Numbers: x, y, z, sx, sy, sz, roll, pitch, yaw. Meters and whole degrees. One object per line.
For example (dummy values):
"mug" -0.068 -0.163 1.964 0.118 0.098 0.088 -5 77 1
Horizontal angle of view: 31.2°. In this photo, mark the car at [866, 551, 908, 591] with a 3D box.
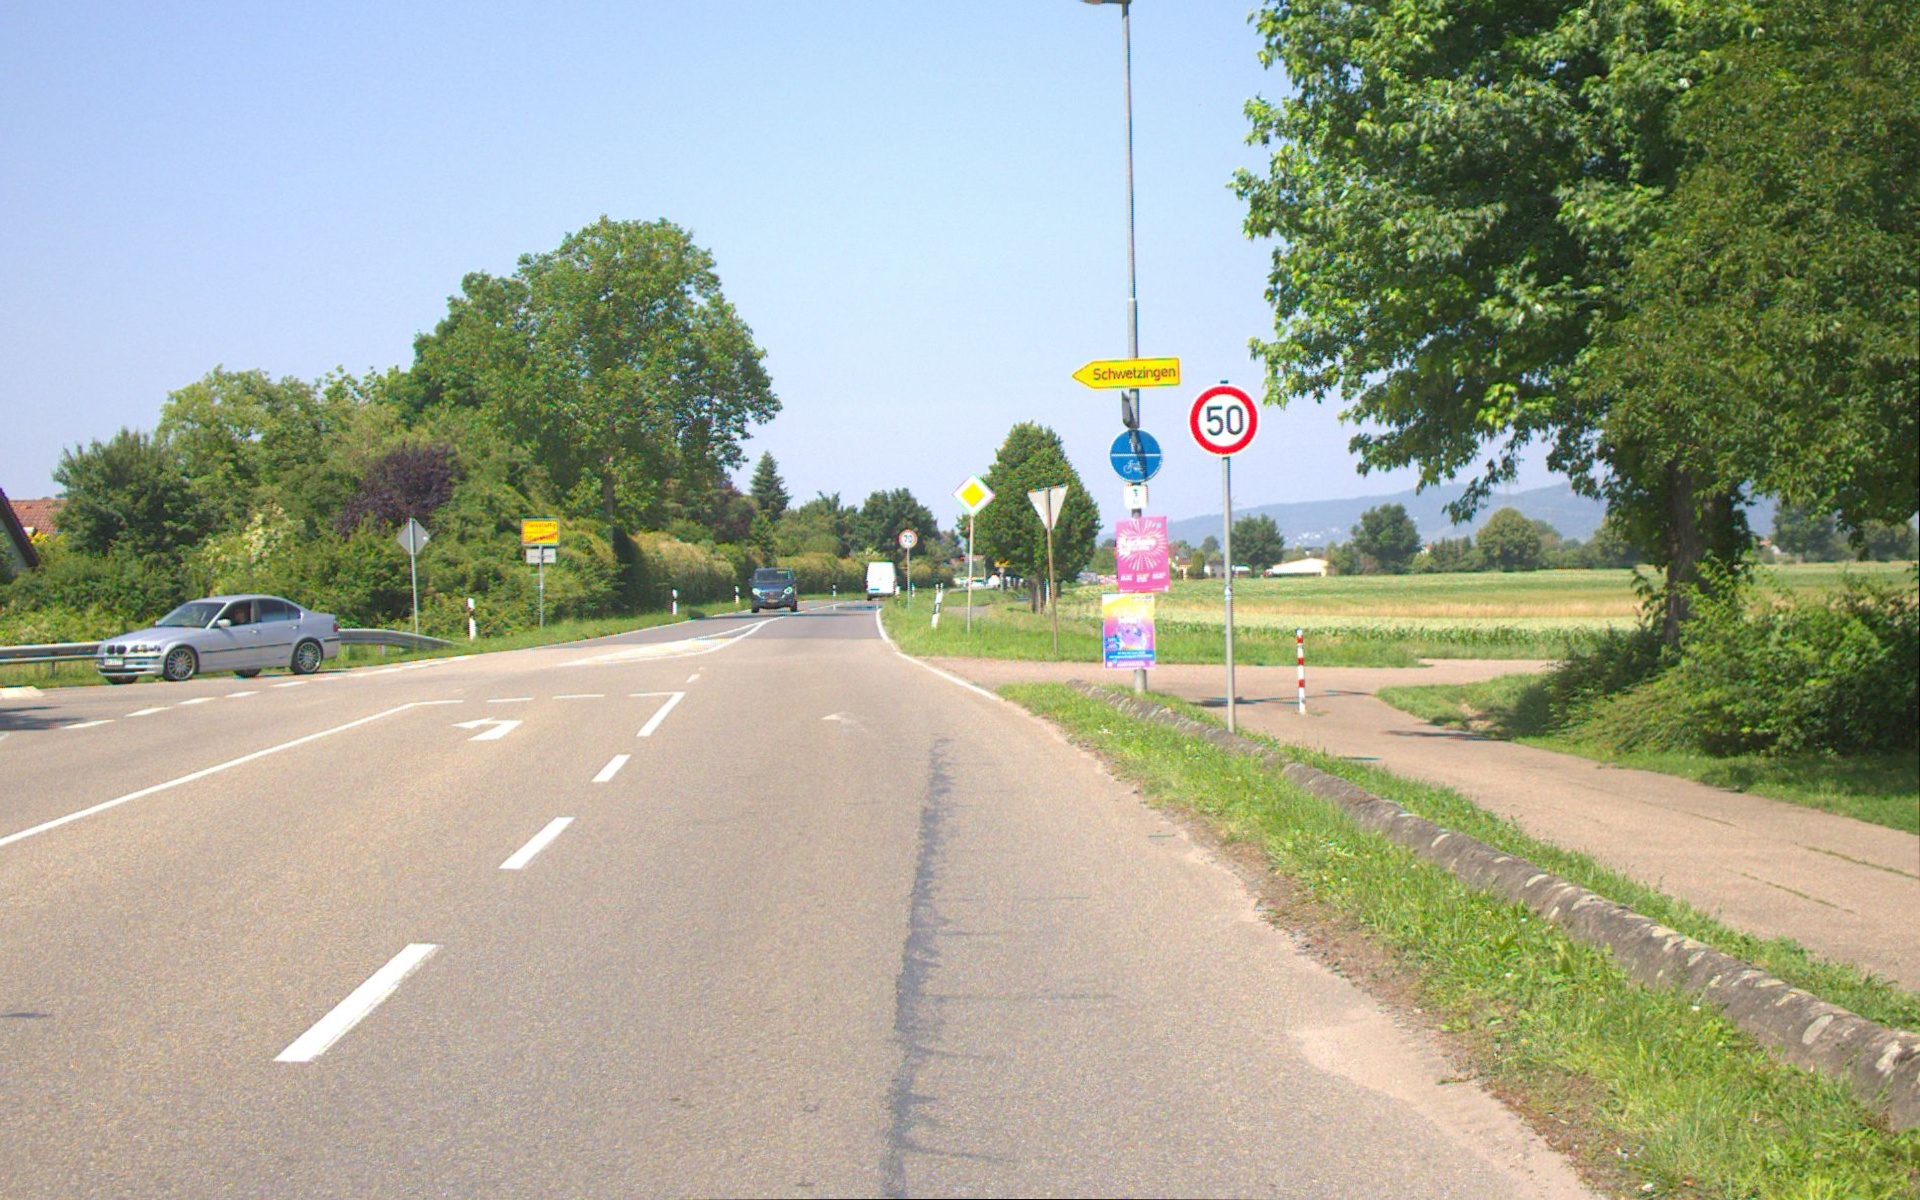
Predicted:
"car" -4.992 -1.986 236.051 1.994 2.642 3.998 -2 1 11

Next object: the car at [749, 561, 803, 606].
"car" -8.321 -0.760 155.692 2.144 1.944 5.247 -2 1 0

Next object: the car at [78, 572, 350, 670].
"car" -12.552 0.336 58.065 1.639 1.466 4.406 -1 1 38
